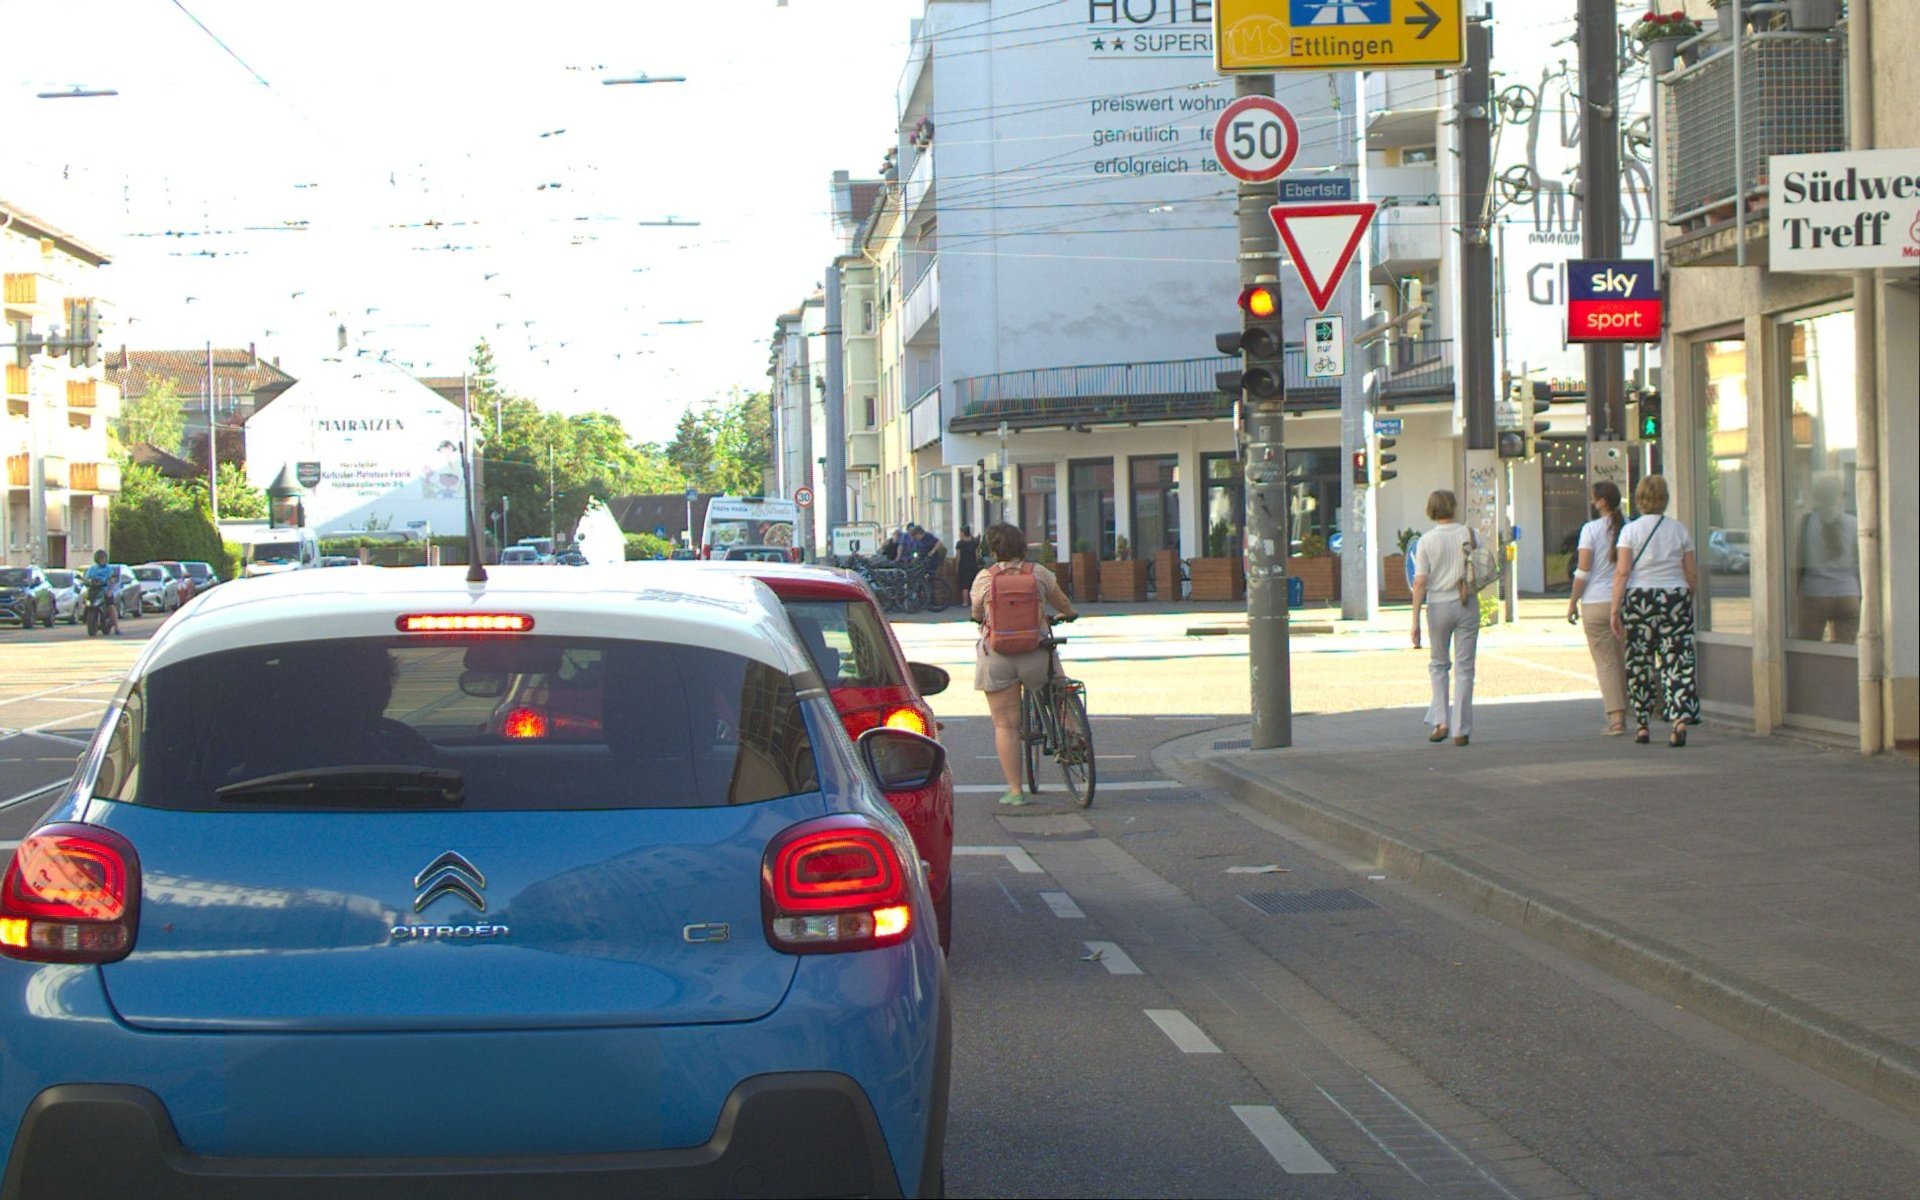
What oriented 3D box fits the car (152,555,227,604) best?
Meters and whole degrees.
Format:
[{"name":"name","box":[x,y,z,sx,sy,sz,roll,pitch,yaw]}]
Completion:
[{"name":"car","box":[-26.008,-0.717,116.178,1.870,1.568,4.001,-1,1,-4]}]

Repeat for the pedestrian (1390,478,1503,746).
[{"name":"pedestrian","box":[3.124,0.065,22.120,0.541,1.666,0.624,-3,3,-2]}]

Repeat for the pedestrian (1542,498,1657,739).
[{"name":"pedestrian","box":[4.138,0.112,22.267,0.541,1.502,0.611,-3,3,-2]}]

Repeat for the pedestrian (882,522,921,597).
[{"name":"pedestrian","box":[-1.236,-0.852,72.500,0.646,1.550,0.493,-2,1,-22]}]

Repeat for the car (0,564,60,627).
[{"name":"car","box":[-23.873,-0.125,85.975,1.910,1.492,4.001,-1,1,-5]}]

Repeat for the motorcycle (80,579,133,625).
[{"name":"motorcycle","box":[-16.694,0.030,67.295,0.615,0.861,1.671,-1,1,0]}]

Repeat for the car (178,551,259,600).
[{"name":"car","box":[-26.202,-0.880,121.602,2.030,1.614,4.511,-1,1,-3]}]

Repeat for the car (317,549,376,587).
[{"name":"car","box":[-25.771,-1.359,144.502,2.021,1.520,4.001,-1,1,-4]}]

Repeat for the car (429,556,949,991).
[{"name":"car","box":[-0.942,0.564,13.657,1.738,1.415,4.000,-1,1,-1]}]

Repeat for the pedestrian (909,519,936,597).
[{"name":"pedestrian","box":[-0.768,-0.851,69.728,0.491,1.550,0.384,-1,1,-3]}]

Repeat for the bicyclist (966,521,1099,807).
[{"name":"bicyclist","box":[0.421,0.363,20.301,0.726,1.640,0.790,-1,1,-1]}]

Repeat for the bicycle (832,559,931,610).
[{"name":"bicycle","box":[-1.521,-0.303,67.065,1.874,0.953,0.702,-1,1,1]}]

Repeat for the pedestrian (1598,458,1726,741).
[{"name":"pedestrian","box":[4.254,-0.010,20.853,0.541,1.666,0.650,-3,1,-2]}]

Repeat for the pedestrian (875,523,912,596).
[{"name":"pedestrian","box":[-1.439,-0.873,74.304,0.646,1.550,0.493,-2,1,-22]}]

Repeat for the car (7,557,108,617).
[{"name":"car","box":[-24.140,-0.374,92.111,1.910,1.492,4.001,-1,1,-5]}]

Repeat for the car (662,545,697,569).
[{"name":"car","box":[-15.518,-2.370,189.989,1.754,1.255,3.833,-1,1,-7]}]

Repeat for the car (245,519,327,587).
[{"name":"car","box":[-23.379,-1.648,119.315,2.206,2.243,4.678,-1,1,-4]}]

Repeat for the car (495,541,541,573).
[{"name":"car","box":[-21.764,-2.128,169.412,2.021,1.520,4.001,-1,1,-4]}]

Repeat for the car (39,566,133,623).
[{"name":"car","box":[-24.798,-0.179,97.687,1.910,1.492,4.001,-1,1,-5]}]

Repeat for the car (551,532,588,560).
[{"name":"car","box":[-24.479,-3.368,215.502,1.993,1.678,4.001,-2,1,-10]}]

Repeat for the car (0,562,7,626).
[{"name":"car","box":[-23.346,-0.099,79.192,1.910,1.492,4.001,-1,1,-5]}]

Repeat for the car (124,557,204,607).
[{"name":"car","box":[-25.701,-0.600,111.086,1.910,1.492,4.001,-1,1,-5]}]

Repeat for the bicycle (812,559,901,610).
[{"name":"bicycle","box":[-2.061,-0.316,68.424,1.720,0.953,0.702,-1,1,1]}]

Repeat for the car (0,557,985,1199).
[{"name":"car","box":[-1.054,0.649,7.434,1.743,1.457,4.001,0,1,-7]}]

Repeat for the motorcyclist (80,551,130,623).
[{"name":"motorcyclist","box":[-16.688,-0.254,67.135,0.719,1.373,0.911,-1,1,0]}]

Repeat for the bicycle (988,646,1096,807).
[{"name":"bicycle","box":[0.479,0.739,20.665,0.498,0.861,1.749,-1,1,-3]}]

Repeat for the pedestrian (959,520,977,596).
[{"name":"pedestrian","box":[0.165,-0.861,70.155,0.284,1.550,0.305,-1,1,-9]}]

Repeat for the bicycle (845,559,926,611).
[{"name":"bicycle","box":[-1.417,-0.289,66.005,1.504,0.953,0.702,-1,1,1]}]

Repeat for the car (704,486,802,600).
[{"name":"car","box":[-4.363,-1.196,72.443,1.993,2.317,4.001,0,1,-4]}]

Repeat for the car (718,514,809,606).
[{"name":"car","box":[-3.871,-0.789,67.533,1.732,1.744,3.214,0,1,-4]}]

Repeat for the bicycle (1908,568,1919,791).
[{"name":"bicycle","box":[4.919,0.392,15.731,0.530,1.068,1.811,-1,1,-4]}]

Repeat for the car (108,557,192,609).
[{"name":"car","box":[-24.976,-0.541,106.087,1.910,1.492,4.001,-1,1,-5]}]

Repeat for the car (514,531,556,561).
[{"name":"car","box":[-23.158,-2.955,187.443,2.021,1.520,4.001,-1,1,-4]}]
